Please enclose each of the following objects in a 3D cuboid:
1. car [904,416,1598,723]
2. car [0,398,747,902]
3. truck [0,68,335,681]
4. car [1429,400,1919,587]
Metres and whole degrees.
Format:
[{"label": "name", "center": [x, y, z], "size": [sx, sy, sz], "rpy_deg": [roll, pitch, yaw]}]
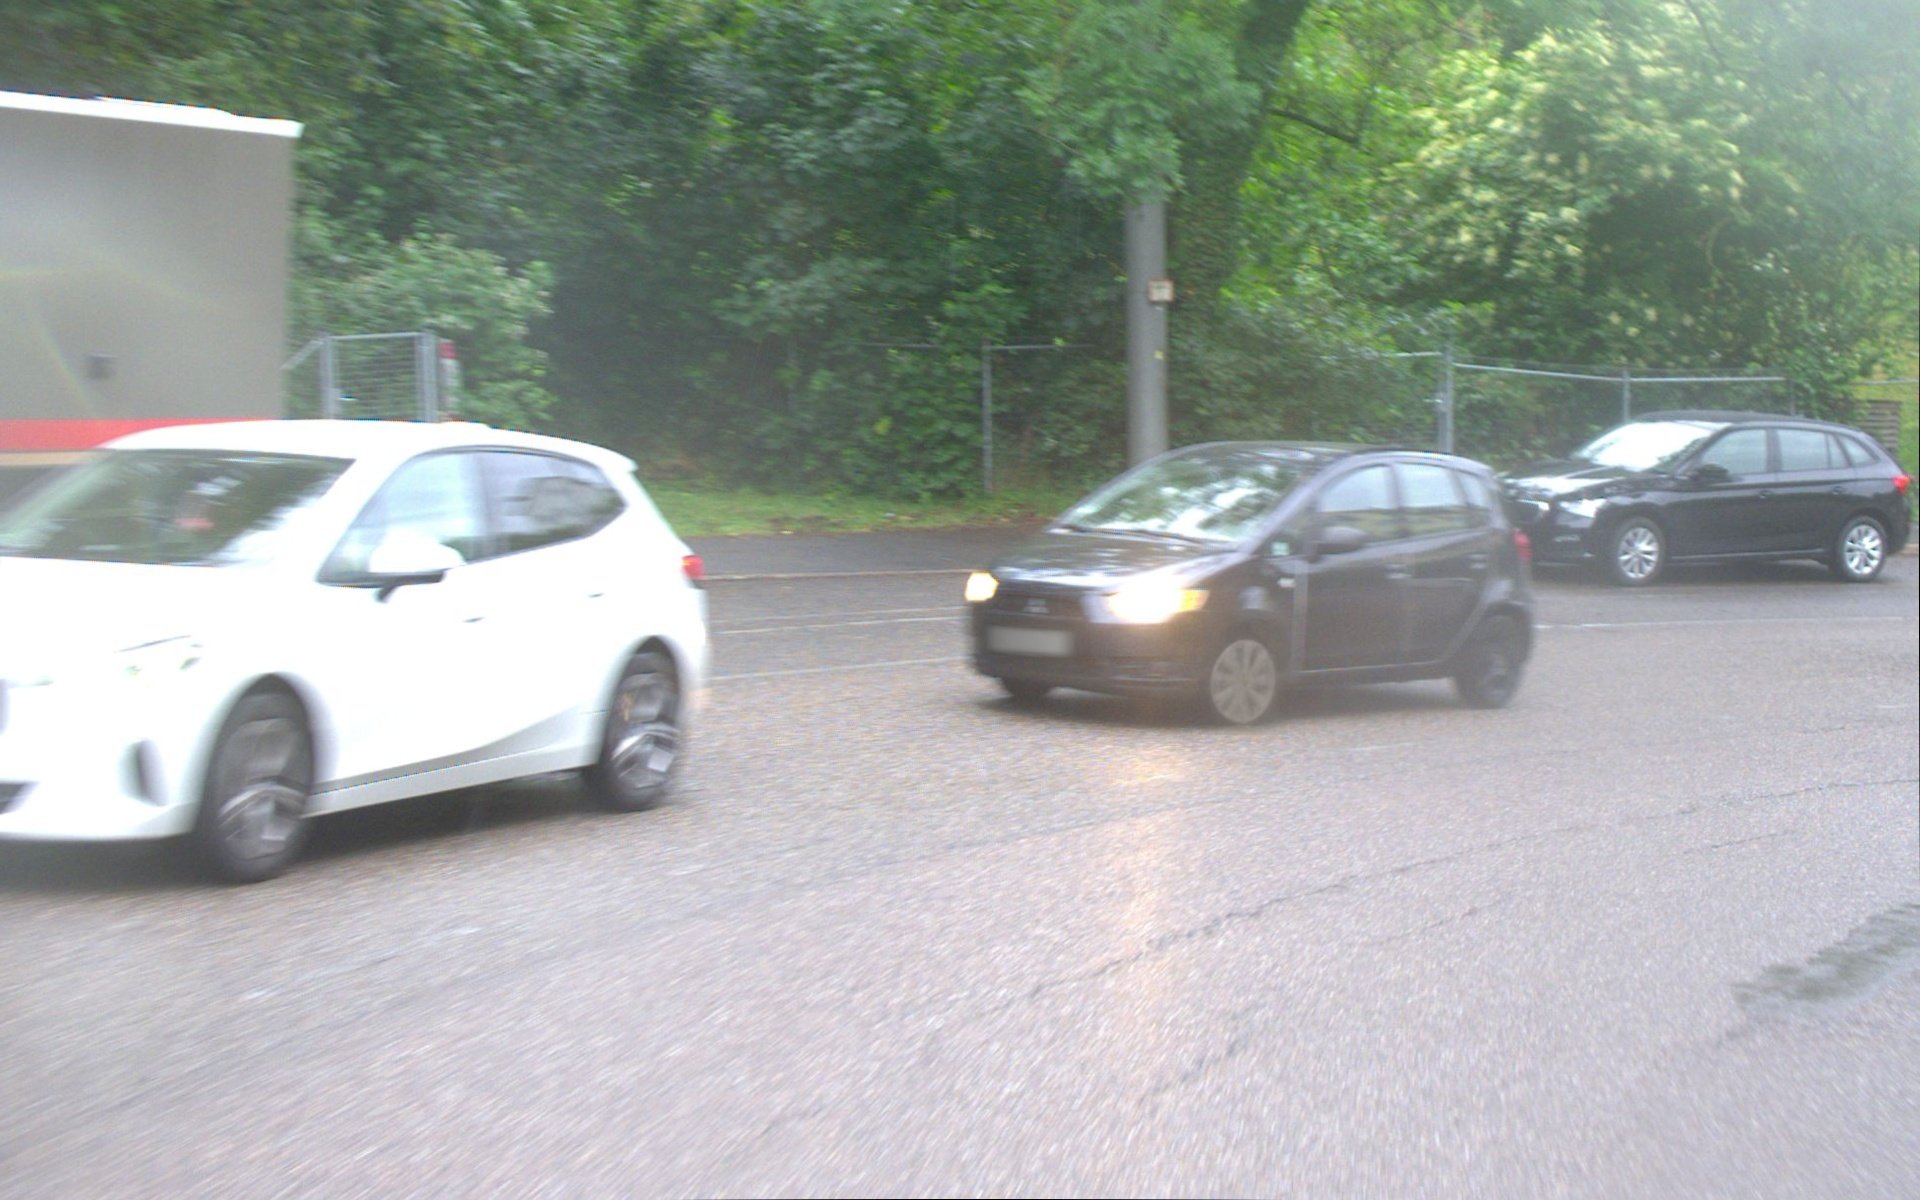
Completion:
[{"label": "car", "center": [1.768, -0.222, 19.896], "size": [1.765, 1.513, 4.075], "rpy_deg": [6, 5, 43]}, {"label": "car", "center": [-2.689, 0.047, 13.120], "size": [1.801, 1.564, 4.450], "rpy_deg": [3, 3, 25]}, {"label": "truck", "center": [-6.061, -1.182, 17.212], "size": [2.036, 3.092, 6.604], "rpy_deg": [5, 4, 27]}, {"label": "car", "center": [6.540, -0.961, 30.943], "size": [4.298, 1.460, 1.785], "rpy_deg": [0, 7, -29]}]
